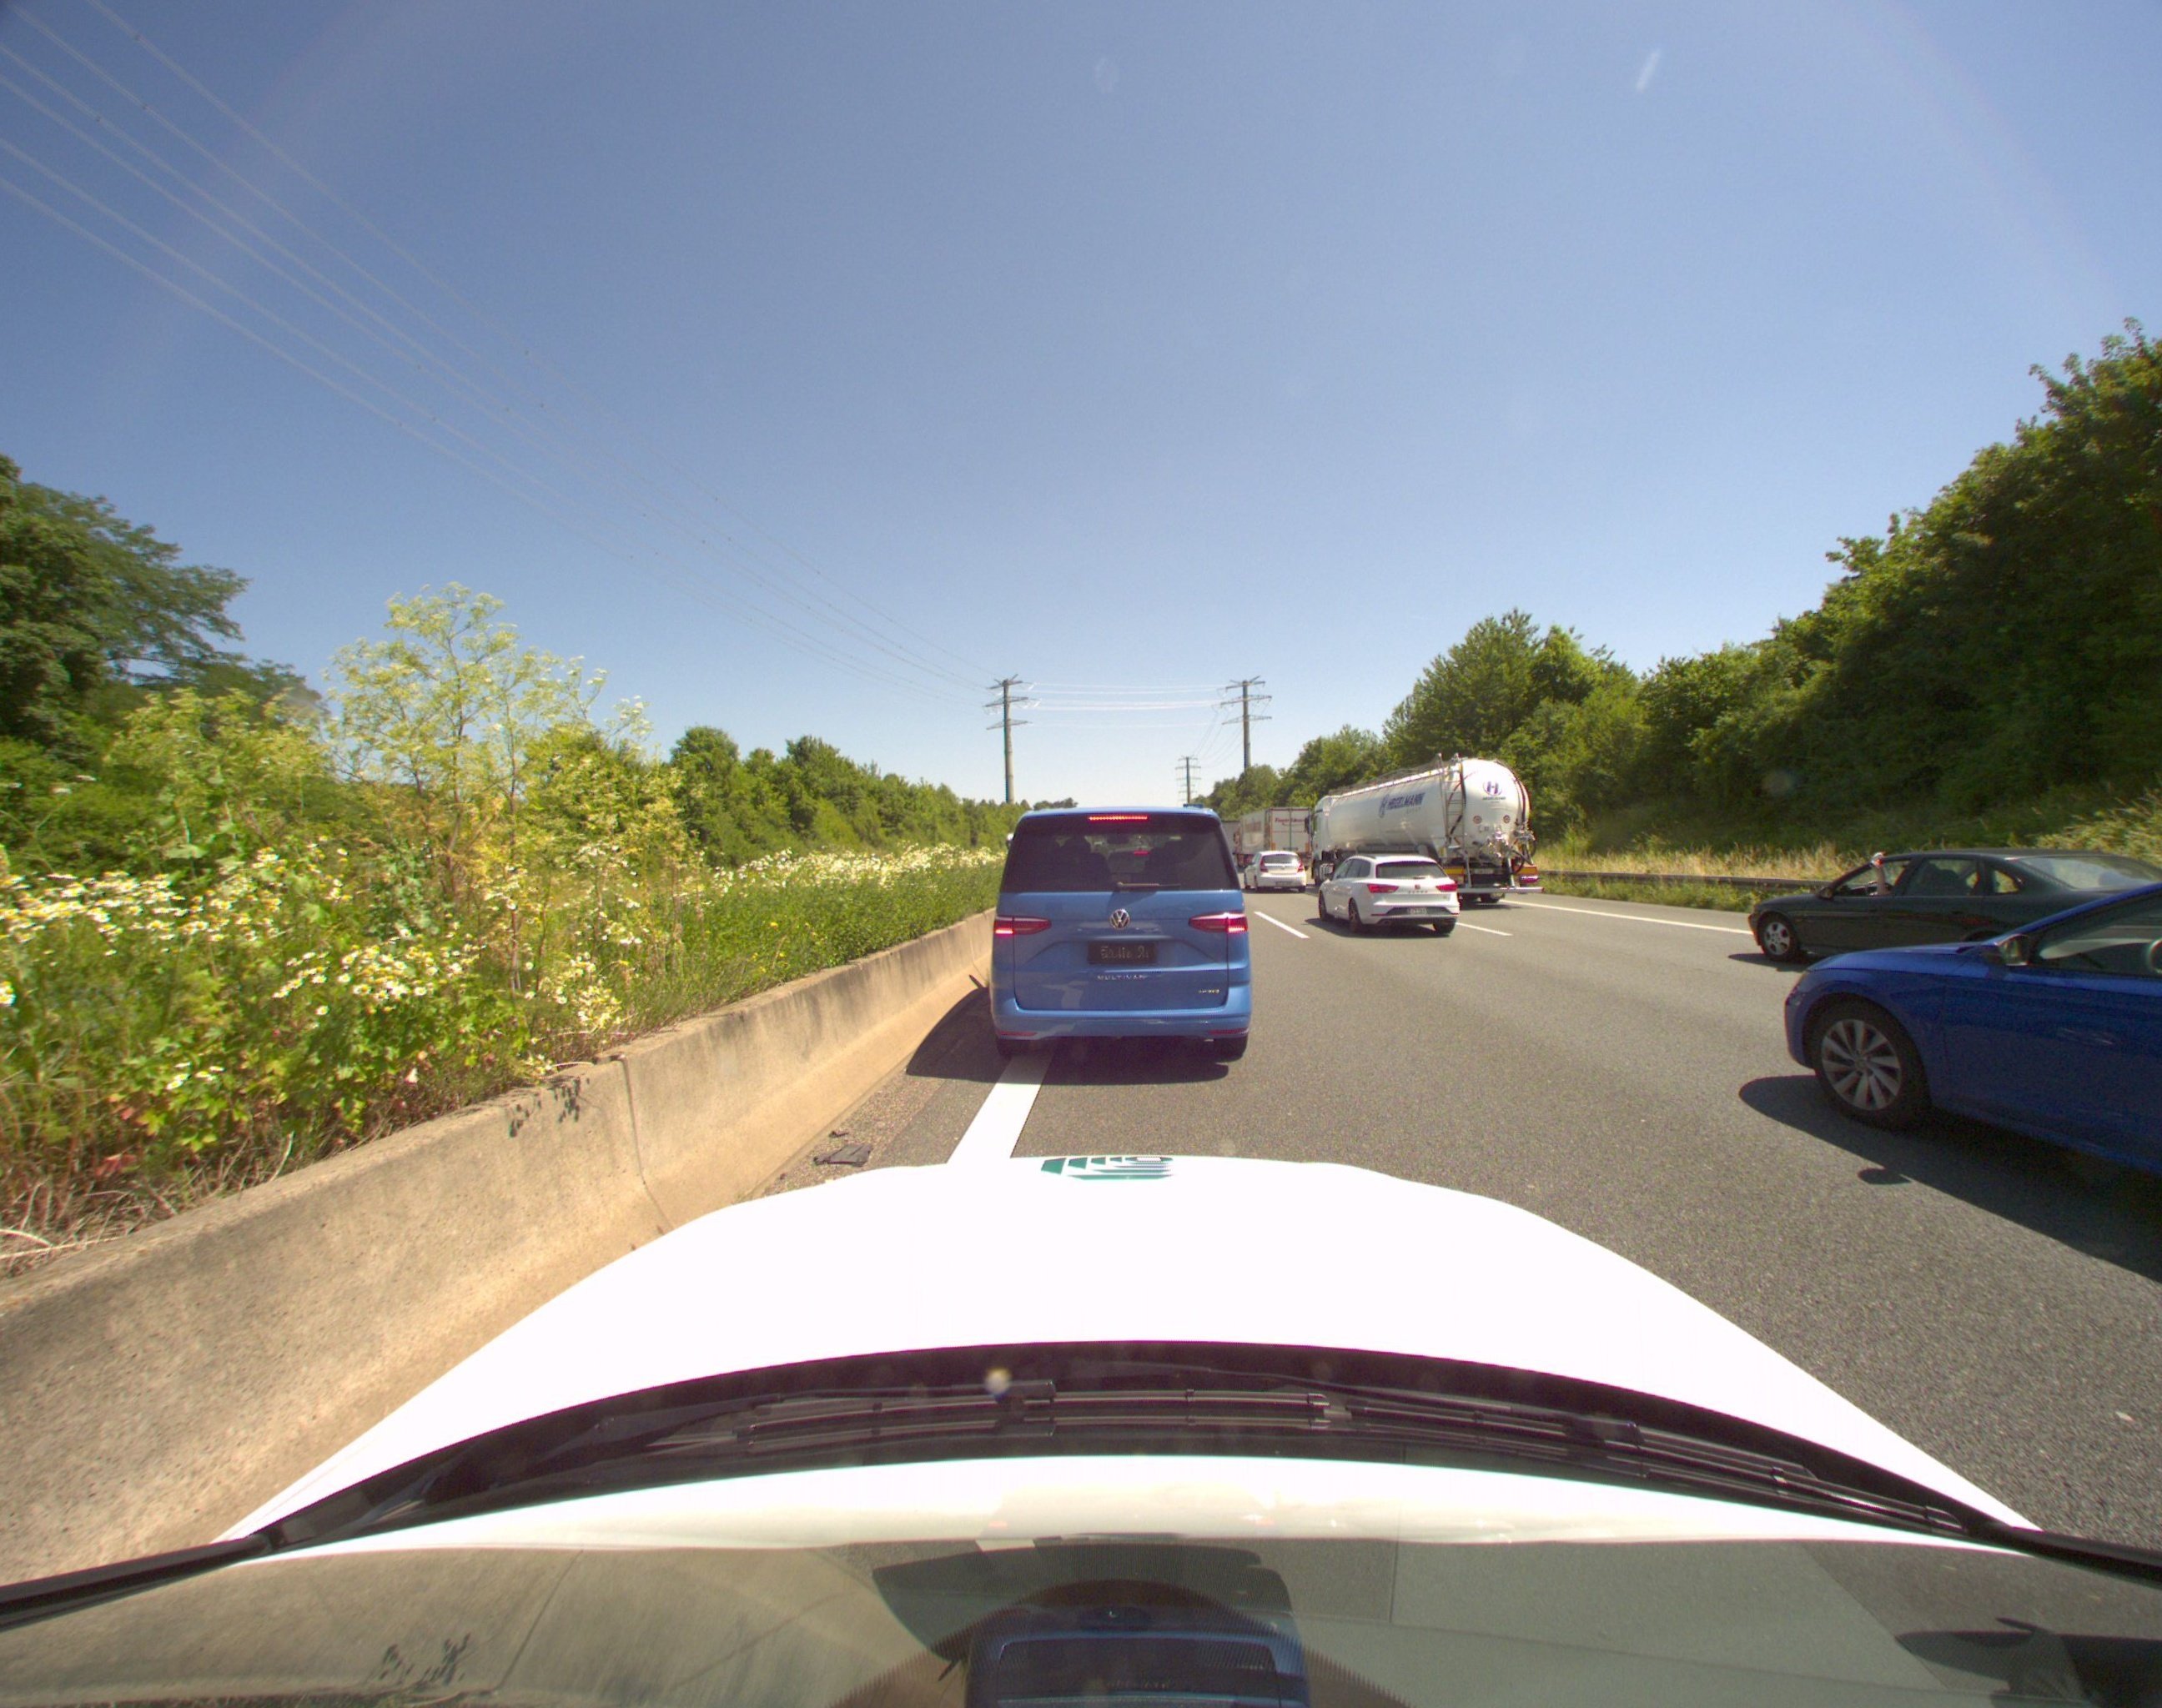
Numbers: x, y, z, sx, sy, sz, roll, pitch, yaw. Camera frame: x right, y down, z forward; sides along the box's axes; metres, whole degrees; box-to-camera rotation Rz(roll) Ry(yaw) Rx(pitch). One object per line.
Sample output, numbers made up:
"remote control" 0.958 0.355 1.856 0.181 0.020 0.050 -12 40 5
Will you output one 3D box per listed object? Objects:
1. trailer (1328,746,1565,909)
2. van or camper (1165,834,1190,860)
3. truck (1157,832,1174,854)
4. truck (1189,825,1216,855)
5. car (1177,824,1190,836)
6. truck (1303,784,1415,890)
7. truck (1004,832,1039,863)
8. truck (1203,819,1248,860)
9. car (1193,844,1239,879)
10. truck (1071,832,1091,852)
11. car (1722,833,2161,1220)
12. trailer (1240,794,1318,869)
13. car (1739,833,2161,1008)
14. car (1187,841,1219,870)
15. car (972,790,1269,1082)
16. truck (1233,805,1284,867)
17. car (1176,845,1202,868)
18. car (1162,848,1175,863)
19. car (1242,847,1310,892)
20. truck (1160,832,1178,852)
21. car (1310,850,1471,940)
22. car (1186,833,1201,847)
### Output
"trailer" 10.561 -0.622 25.426 2.749 3.845 11.496 -2 0 3
"van or camper" 12.079 -0.839 102.283 2.943 3.022 7.113 -2 -1 5
"truck" 15.732 -2.002 151.780 2.882 3.766 10.153 -2 -1 5
"truck" 16.914 -1.799 114.196 2.882 3.766 13.361 -2 -1 5
"car" 18.952 -4.507 150.847 1.984 2.014 4.004 -2 -1 4
"truck" 11.040 -0.617 32.958 2.781 3.836 5.577 -2 0 3
"truck" -7.601 -0.836 105.920 2.899 3.819 11.957 -1 0 4
"truck" 14.526 -1.282 83.082 2.992 3.766 15.733 -2 -1 5
"car" 7.201 0.403 43.707 1.990 1.715 4.631 -2 -1 5
"truck" 0.069 -2.311 160.767 3.158 3.819 11.957 -1 0 4
"car" 4.907 0.622 2.911 1.769 1.416 4.576 -3 -1 3
"trailer" 13.264 -1.379 55.659 2.900 4.469 12.165 -2 0 3
"car" 9.455 0.565 8.801 1.634 1.416 3.993 -3 -1 4
"car" 8.976 0.131 60.289 1.915 1.925 4.240 -3 -1 4
"car" 0.387 0.533 7.303 1.911 1.886 4.004 -1 0 4
"truck" 13.705 -1.317 63.215 2.900 4.469 5.147 -2 0 3
"car" 9.680 0.220 73.292 1.915 1.925 4.240 -3 -1 4
"car" 12.735 0.193 118.628 1.827 1.998 4.006 -3 -1 5
"car" 7.093 0.563 29.987 1.808 1.485 4.005 -2 -1 5
"truck" 21.150 -2.749 196.173 3.551 4.517 10.302 -2 -1 3
"car" 5.786 0.709 15.790 1.739 1.443 4.318 -2 -1 5
"car" 17.884 -2.255 129.334 1.984 2.014 4.004 -2 -1 4
